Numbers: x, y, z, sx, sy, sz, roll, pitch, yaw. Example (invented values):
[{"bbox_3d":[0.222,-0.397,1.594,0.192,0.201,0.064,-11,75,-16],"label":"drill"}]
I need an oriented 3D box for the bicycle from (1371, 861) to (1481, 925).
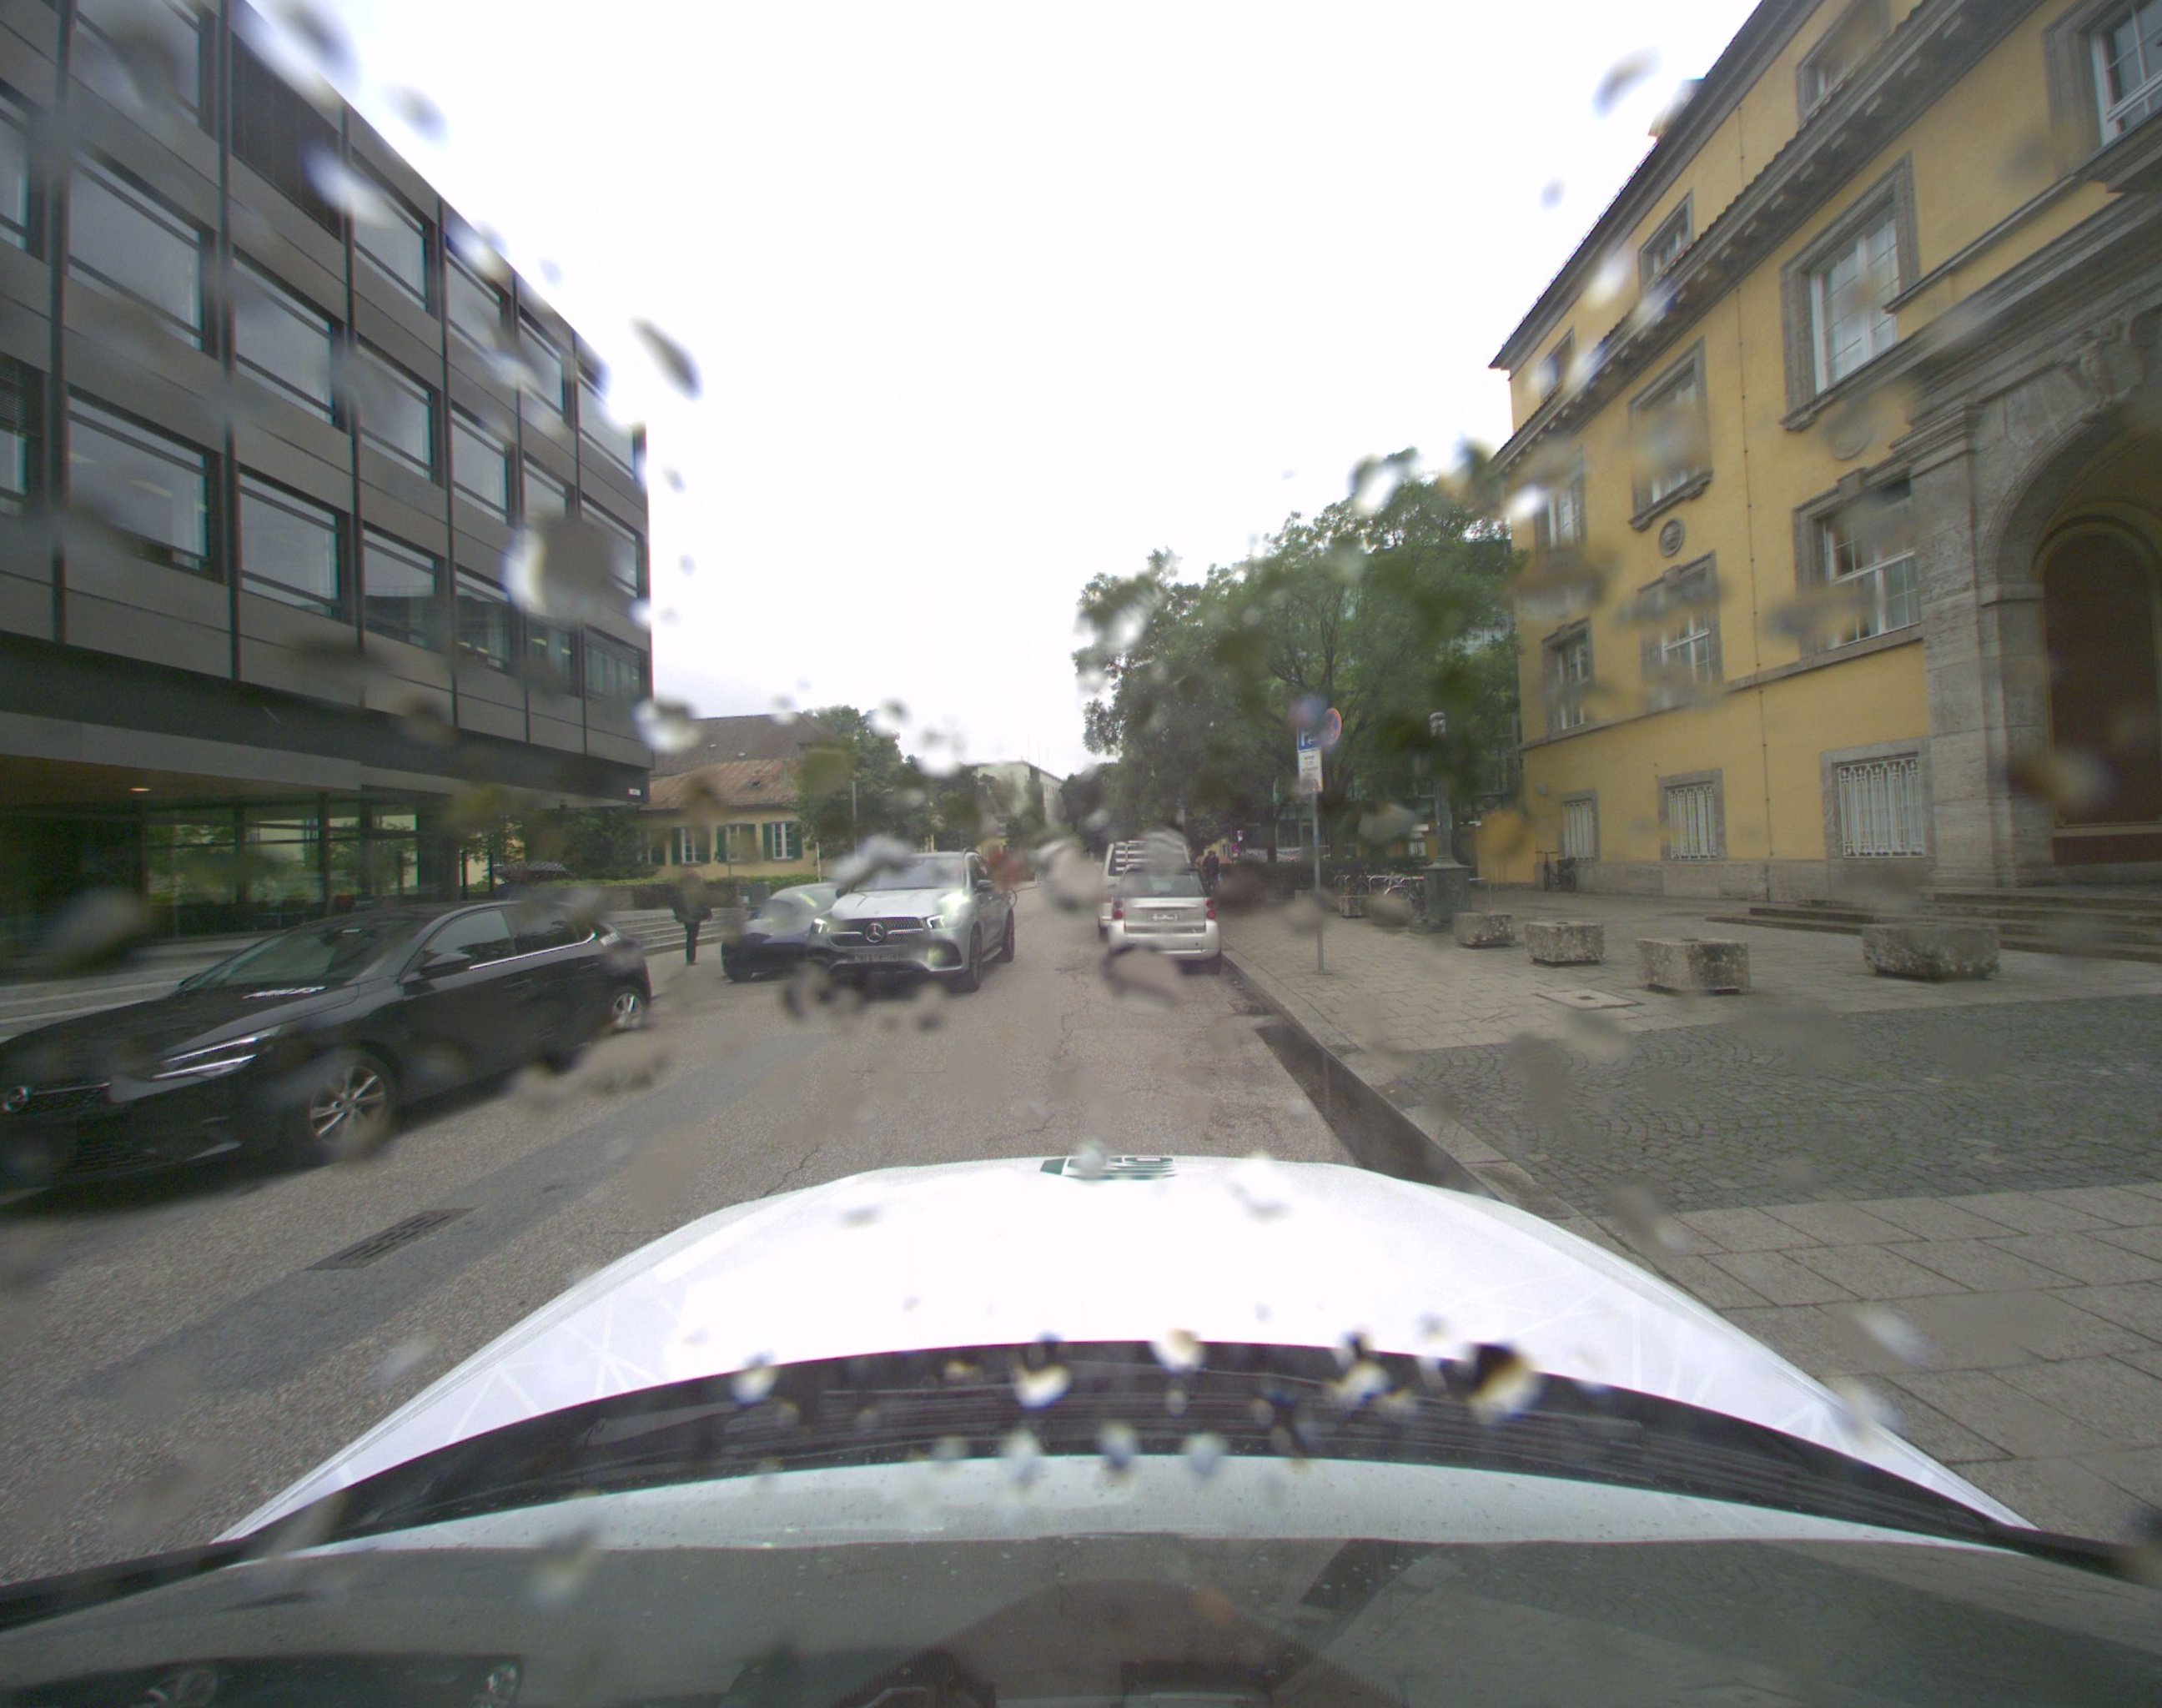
[{"bbox_3d":[6.830,0.763,16.137,1.926,1.113,0.471,-4,-1,-1],"label":"bicycle"}]

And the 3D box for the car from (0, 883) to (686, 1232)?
[{"bbox_3d":[-4.943,1.064,5.952,1.732,1.461,4.240,-5,-1,3],"label":"car"}]

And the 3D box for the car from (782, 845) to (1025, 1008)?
[{"bbox_3d":[-2.133,0.824,11.328,2.016,1.689,4.681,-3,-1,3],"label":"car"}]

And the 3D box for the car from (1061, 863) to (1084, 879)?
[{"bbox_3d":[-0.917,1.835,87.991,1.984,1.648,4.661,-2,-1,5],"label":"car"}]

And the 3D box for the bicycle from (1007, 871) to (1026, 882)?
[{"bbox_3d":[-5.977,2.049,75.317,1.620,0.926,0.646,-2,-2,-23],"label":"bicycle"}]

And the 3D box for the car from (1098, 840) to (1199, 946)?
[{"bbox_3d":[1.289,0.739,17.539,1.838,1.933,5.273,0,-1,1],"label":"car"}]

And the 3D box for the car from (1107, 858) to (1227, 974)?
[{"bbox_3d":[1.215,0.847,12.434,1.599,1.546,2.935,0,-1,2],"label":"car"}]

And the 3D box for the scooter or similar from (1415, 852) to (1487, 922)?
[{"bbox_3d":[6.737,0.603,14.849,0.541,1.222,1.000,-3,-1,-43],"label":"scooter or similar"}]

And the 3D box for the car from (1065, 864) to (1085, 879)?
[{"bbox_3d":[-0.639,2.019,93.065,1.985,1.603,4.003,-2,-2,4],"label":"car"}]

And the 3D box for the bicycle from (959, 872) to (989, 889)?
[{"bbox_3d":[-7.390,1.827,56.164,1.921,1.099,0.615,0,-1,5],"label":"bicycle"}]

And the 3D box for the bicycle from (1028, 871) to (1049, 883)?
[{"bbox_3d":[-3.664,1.993,70.953,0.615,1.004,2.154,0,0,35],"label":"bicycle"}]

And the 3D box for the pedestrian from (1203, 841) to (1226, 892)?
[{"bbox_3d":[5.719,0.534,34.961,0.740,2.135,1.056,-3,-1,1],"label":"pedestrian"}]

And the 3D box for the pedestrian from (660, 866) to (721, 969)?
[{"bbox_3d":[-6.969,1.105,14.577,0.754,1.749,0.948,-2,-1,-14],"label":"pedestrian"}]

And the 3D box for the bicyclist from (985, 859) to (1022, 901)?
[{"bbox_3d":[-2.841,0.955,29.774,1.100,1.498,0.666,0,-3,-39],"label":"bicyclist"}]

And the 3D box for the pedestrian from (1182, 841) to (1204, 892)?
[{"bbox_3d":[4.854,0.528,35.398,0.740,2.135,1.056,-3,-1,1],"label":"pedestrian"}]

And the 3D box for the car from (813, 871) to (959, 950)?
[{"bbox_3d":[-4.459,1.231,19.509,1.985,1.491,4.887,-4,-1,3],"label":"car"}]

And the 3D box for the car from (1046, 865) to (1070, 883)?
[{"bbox_3d":[-2.077,1.831,75.424,1.725,1.581,3.793,0,-1,5],"label":"car"}]

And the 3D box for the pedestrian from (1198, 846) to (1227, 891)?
[{"bbox_3d":[5.840,0.642,36.168,0.735,1.907,1.062,-4,-1,37],"label":"pedestrian"}]

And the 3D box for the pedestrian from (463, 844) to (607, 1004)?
[{"bbox_3d":[-7.471,0.916,11.219,1.131,2.055,1.221,-1,-1,1],"label":"pedestrian"}]

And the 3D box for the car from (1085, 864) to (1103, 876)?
[{"bbox_3d":[1.735,2.169,110.862,1.983,1.486,4.007,-3,-1,7],"label":"car"}]

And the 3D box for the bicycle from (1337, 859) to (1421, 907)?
[{"bbox_3d":[7.734,0.744,21.170,1.923,1.113,0.472,-4,-1,3],"label":"bicycle"}]

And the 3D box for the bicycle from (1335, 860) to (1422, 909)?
[{"bbox_3d":[7.437,0.755,20.387,1.923,1.113,0.472,-4,-1,4],"label":"bicycle"}]

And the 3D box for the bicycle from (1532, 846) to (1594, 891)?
[{"bbox_3d":[13.151,0.392,22.270,0.540,1.154,1.902,-3,0,1],"label":"bicycle"}]

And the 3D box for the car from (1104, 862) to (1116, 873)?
[{"bbox_3d":[5.114,2.348,142.131,1.802,1.683,4.005,-3,-1,4],"label":"car"}]

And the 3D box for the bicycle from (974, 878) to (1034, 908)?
[{"bbox_3d":[-2.798,1.420,29.764,2.150,1.004,0.616,-1,-3,-38],"label":"bicycle"}]

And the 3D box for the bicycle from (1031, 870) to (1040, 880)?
[{"bbox_3d":[-4.902,2.242,87.241,0.618,1.004,1.622,-2,-2,8],"label":"bicycle"}]

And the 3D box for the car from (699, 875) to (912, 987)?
[{"bbox_3d":[-4.500,1.175,14.244,1.916,1.439,4.917,-4,-1,0],"label":"car"}]

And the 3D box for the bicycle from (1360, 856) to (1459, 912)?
[{"bbox_3d":[7.284,0.657,18.094,1.923,1.113,0.472,-4,-1,4],"label":"bicycle"}]
